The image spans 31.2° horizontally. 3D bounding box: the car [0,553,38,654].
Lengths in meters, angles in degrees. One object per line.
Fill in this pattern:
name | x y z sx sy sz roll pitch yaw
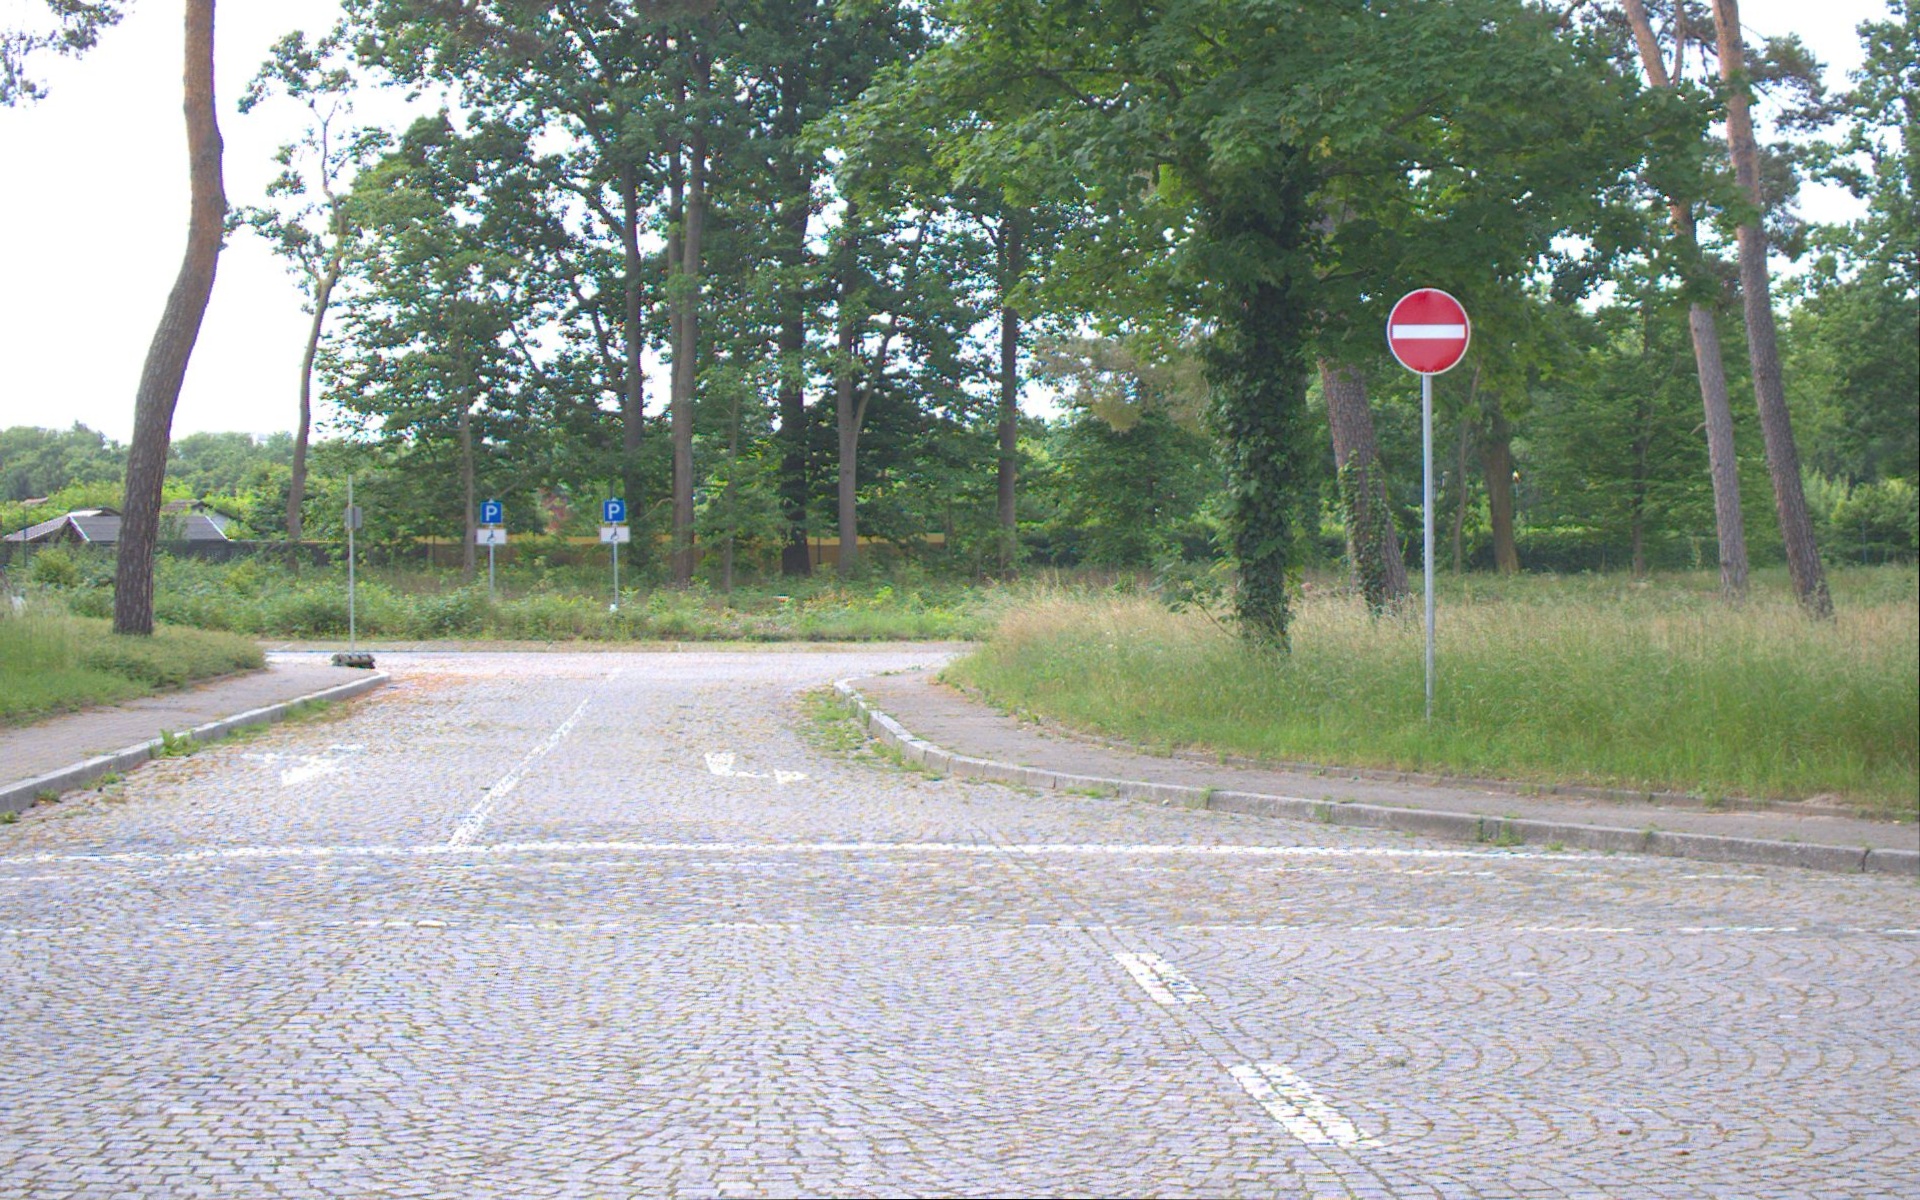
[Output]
car | -18.808 0.015 65.136 1.993 1.840 4.001 2 1 -7
